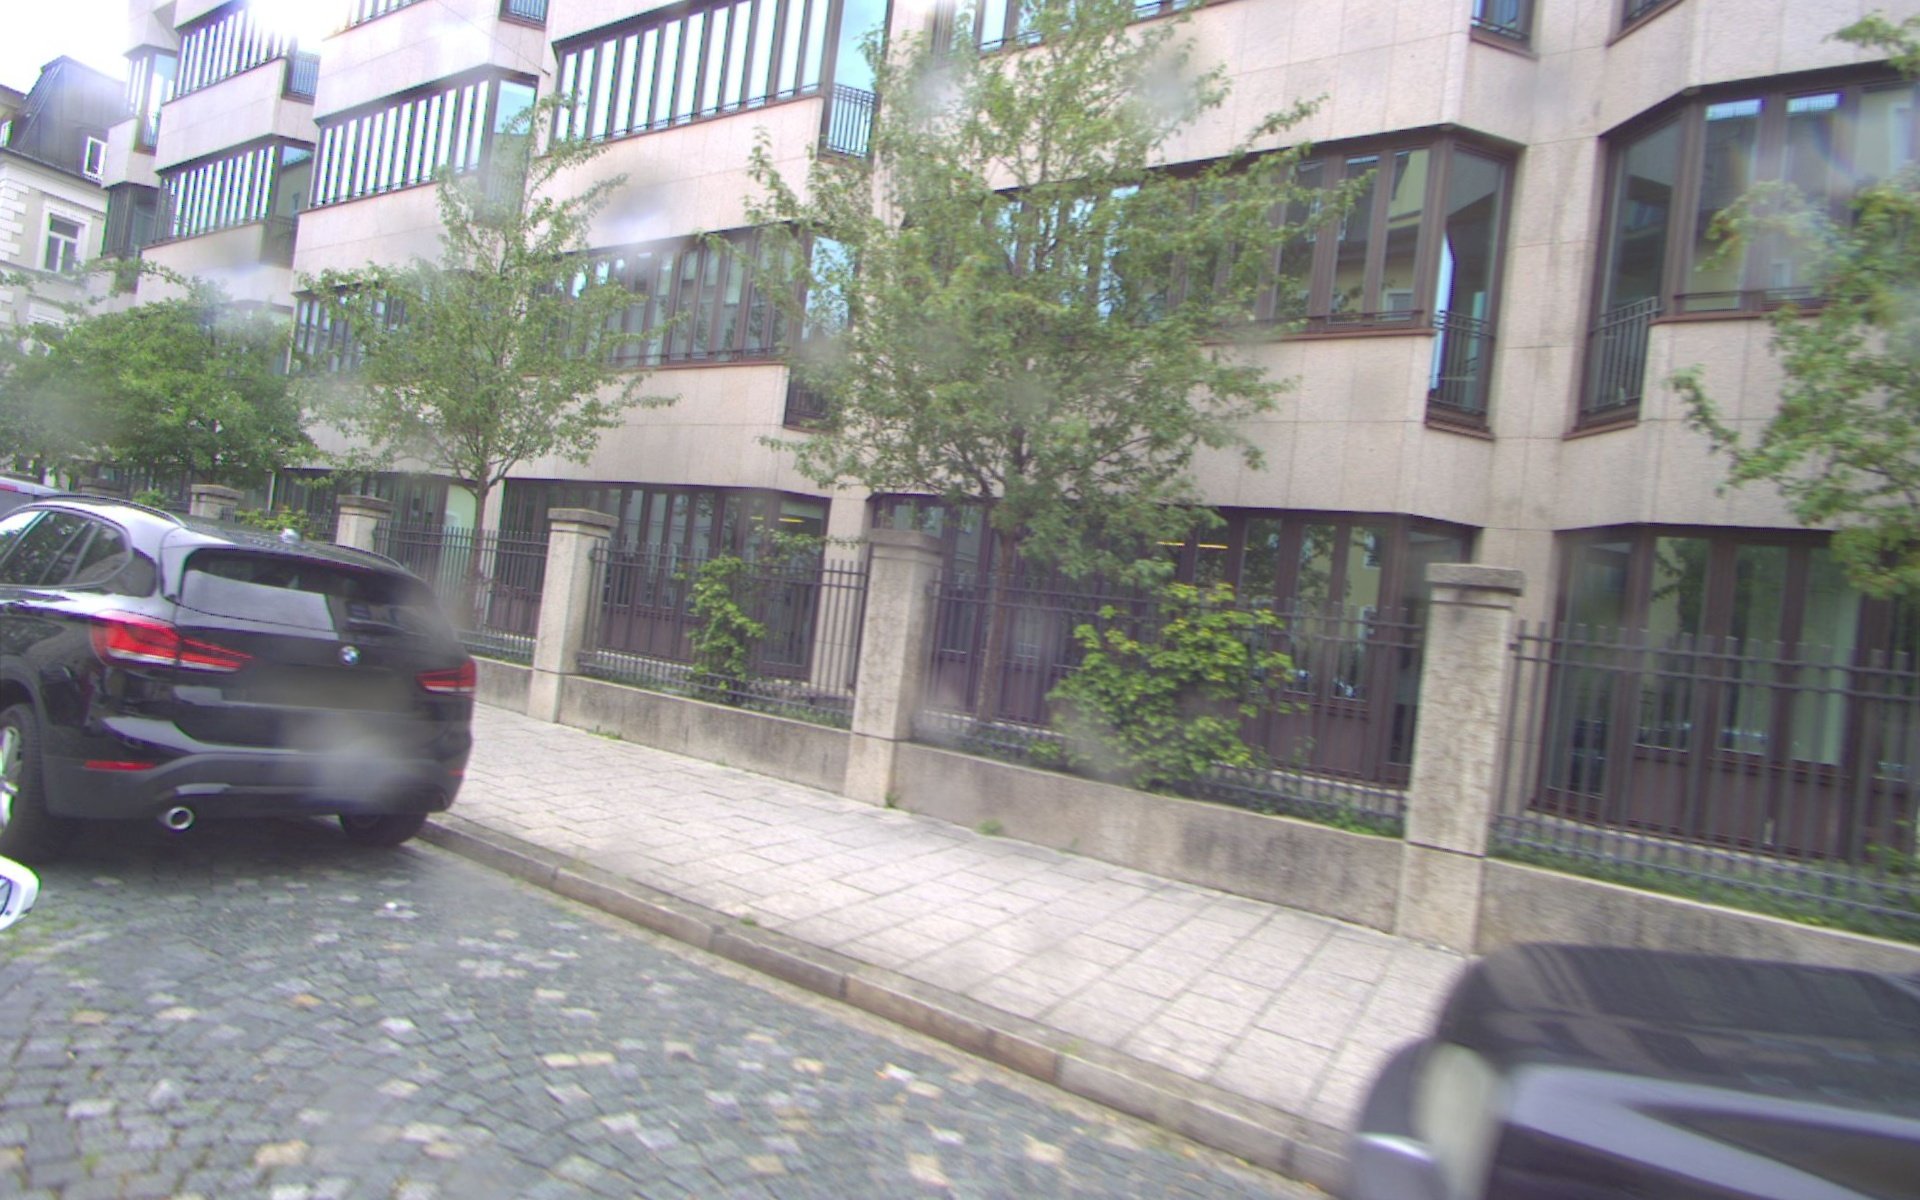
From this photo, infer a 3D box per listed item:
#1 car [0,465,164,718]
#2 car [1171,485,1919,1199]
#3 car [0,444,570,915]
[{"bbox_3d":[-9.101,-0.290,8.667,4.433,1.814,1.796,6,-6,30],"label":"car"},{"bbox_3d":[2.398,0.989,1.332,3.822,1.768,1.624,6,-5,30],"label":"car"},{"bbox_3d":[-4.657,0.218,5.723,4.733,1.719,1.867,6,-5,32],"label":"car"}]
